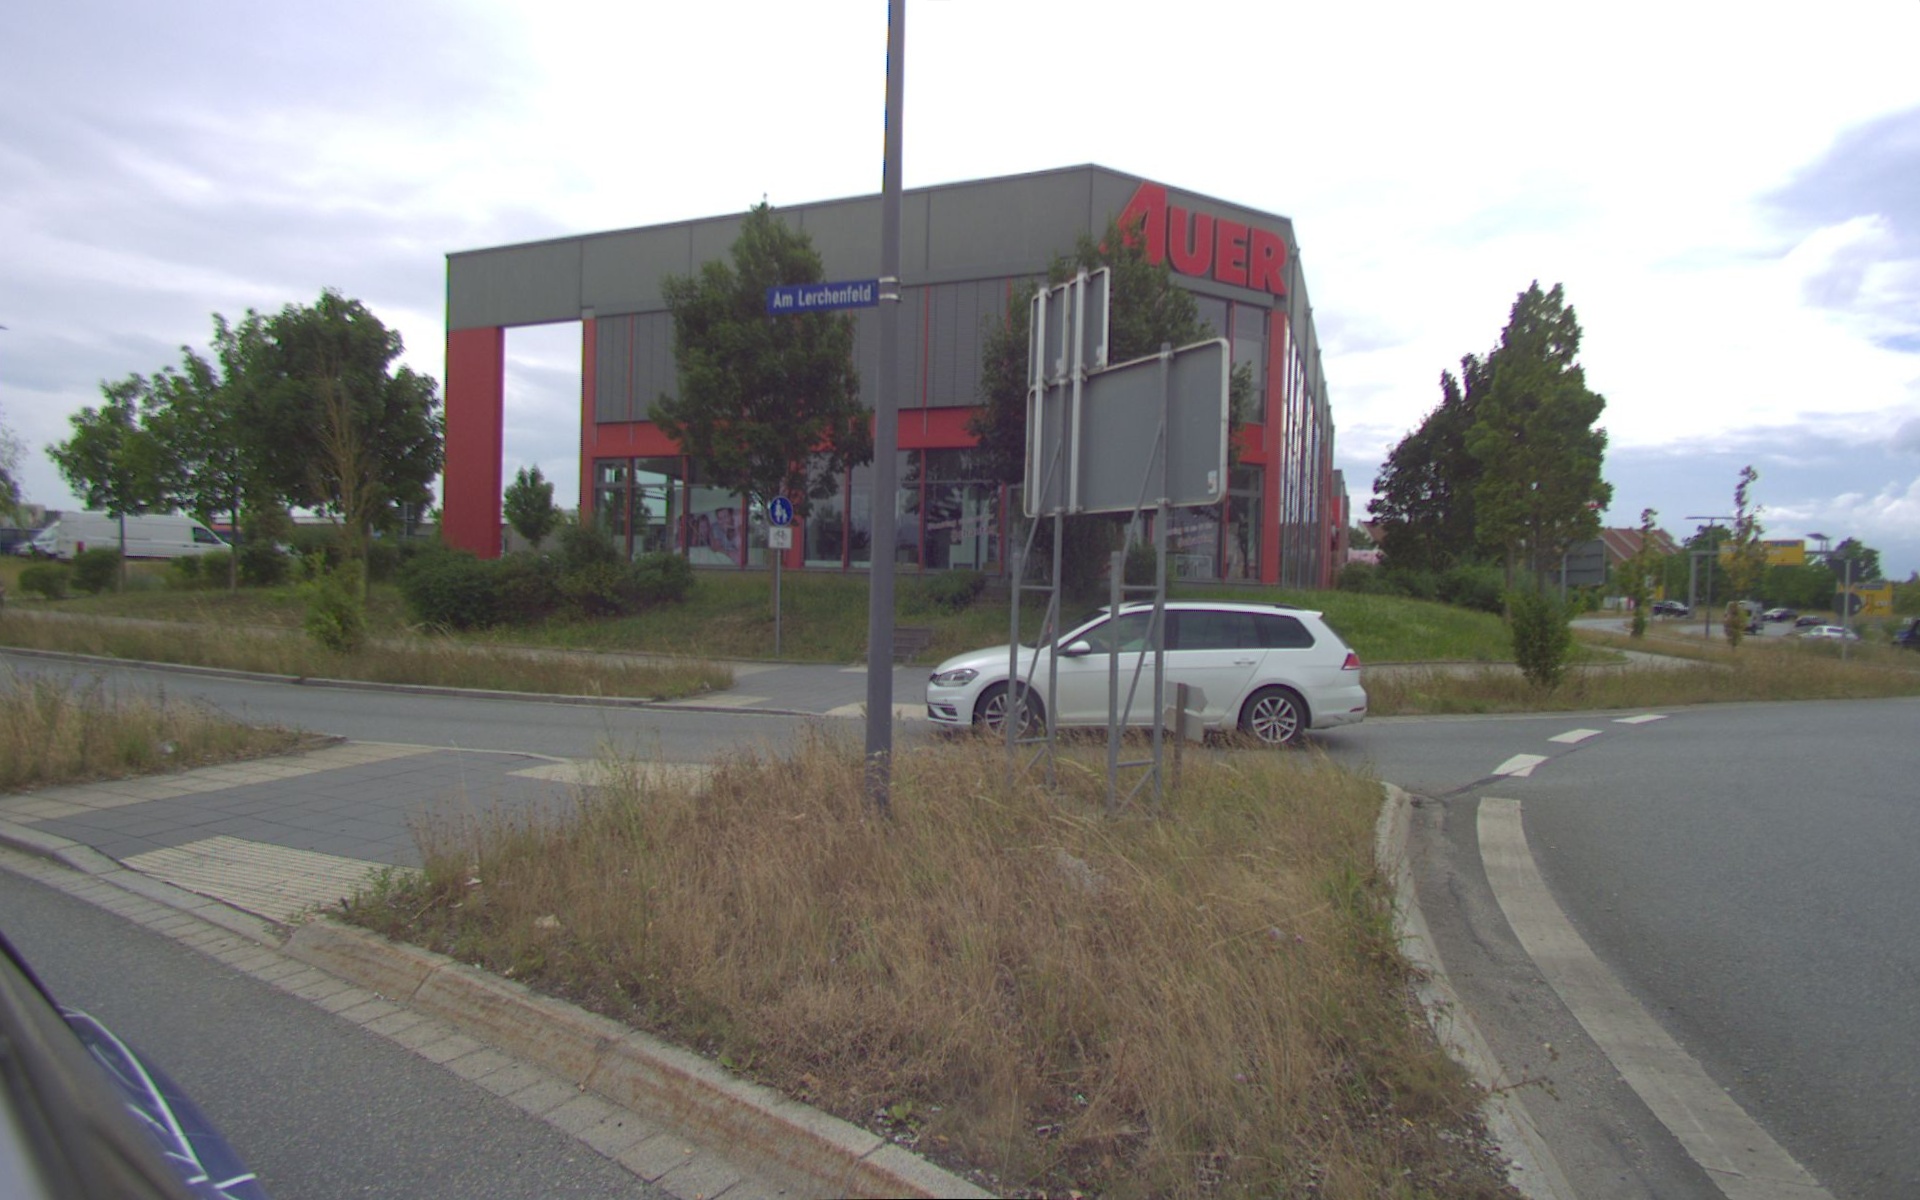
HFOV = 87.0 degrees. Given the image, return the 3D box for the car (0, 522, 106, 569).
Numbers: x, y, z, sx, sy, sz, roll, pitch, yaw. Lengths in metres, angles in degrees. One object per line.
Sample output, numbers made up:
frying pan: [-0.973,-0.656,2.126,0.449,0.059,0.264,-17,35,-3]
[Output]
car: [-47.415,-2.776,52.019,2.056,2.240,5.008,2,1,29]

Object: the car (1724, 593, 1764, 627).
car: [62.881,0.776,81.122,2.279,2.404,5.636,4,4,39]

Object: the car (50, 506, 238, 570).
car: [-36.539,-2.737,45.588,2.053,2.643,6.365,3,3,25]

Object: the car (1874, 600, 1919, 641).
car: [37.578,0.800,38.964,2.001,1.563,3.977,1,1,17]

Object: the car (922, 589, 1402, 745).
car: [1.919,0.641,10.544,4.578,1.419,1.728,1,0,0]

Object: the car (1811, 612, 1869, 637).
car: [49.592,1.343,57.102,1.492,1.311,3.713,2,0,26]

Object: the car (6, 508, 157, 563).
car: [-41.137,-2.991,47.552,2.051,2.390,5.021,3,3,22]
